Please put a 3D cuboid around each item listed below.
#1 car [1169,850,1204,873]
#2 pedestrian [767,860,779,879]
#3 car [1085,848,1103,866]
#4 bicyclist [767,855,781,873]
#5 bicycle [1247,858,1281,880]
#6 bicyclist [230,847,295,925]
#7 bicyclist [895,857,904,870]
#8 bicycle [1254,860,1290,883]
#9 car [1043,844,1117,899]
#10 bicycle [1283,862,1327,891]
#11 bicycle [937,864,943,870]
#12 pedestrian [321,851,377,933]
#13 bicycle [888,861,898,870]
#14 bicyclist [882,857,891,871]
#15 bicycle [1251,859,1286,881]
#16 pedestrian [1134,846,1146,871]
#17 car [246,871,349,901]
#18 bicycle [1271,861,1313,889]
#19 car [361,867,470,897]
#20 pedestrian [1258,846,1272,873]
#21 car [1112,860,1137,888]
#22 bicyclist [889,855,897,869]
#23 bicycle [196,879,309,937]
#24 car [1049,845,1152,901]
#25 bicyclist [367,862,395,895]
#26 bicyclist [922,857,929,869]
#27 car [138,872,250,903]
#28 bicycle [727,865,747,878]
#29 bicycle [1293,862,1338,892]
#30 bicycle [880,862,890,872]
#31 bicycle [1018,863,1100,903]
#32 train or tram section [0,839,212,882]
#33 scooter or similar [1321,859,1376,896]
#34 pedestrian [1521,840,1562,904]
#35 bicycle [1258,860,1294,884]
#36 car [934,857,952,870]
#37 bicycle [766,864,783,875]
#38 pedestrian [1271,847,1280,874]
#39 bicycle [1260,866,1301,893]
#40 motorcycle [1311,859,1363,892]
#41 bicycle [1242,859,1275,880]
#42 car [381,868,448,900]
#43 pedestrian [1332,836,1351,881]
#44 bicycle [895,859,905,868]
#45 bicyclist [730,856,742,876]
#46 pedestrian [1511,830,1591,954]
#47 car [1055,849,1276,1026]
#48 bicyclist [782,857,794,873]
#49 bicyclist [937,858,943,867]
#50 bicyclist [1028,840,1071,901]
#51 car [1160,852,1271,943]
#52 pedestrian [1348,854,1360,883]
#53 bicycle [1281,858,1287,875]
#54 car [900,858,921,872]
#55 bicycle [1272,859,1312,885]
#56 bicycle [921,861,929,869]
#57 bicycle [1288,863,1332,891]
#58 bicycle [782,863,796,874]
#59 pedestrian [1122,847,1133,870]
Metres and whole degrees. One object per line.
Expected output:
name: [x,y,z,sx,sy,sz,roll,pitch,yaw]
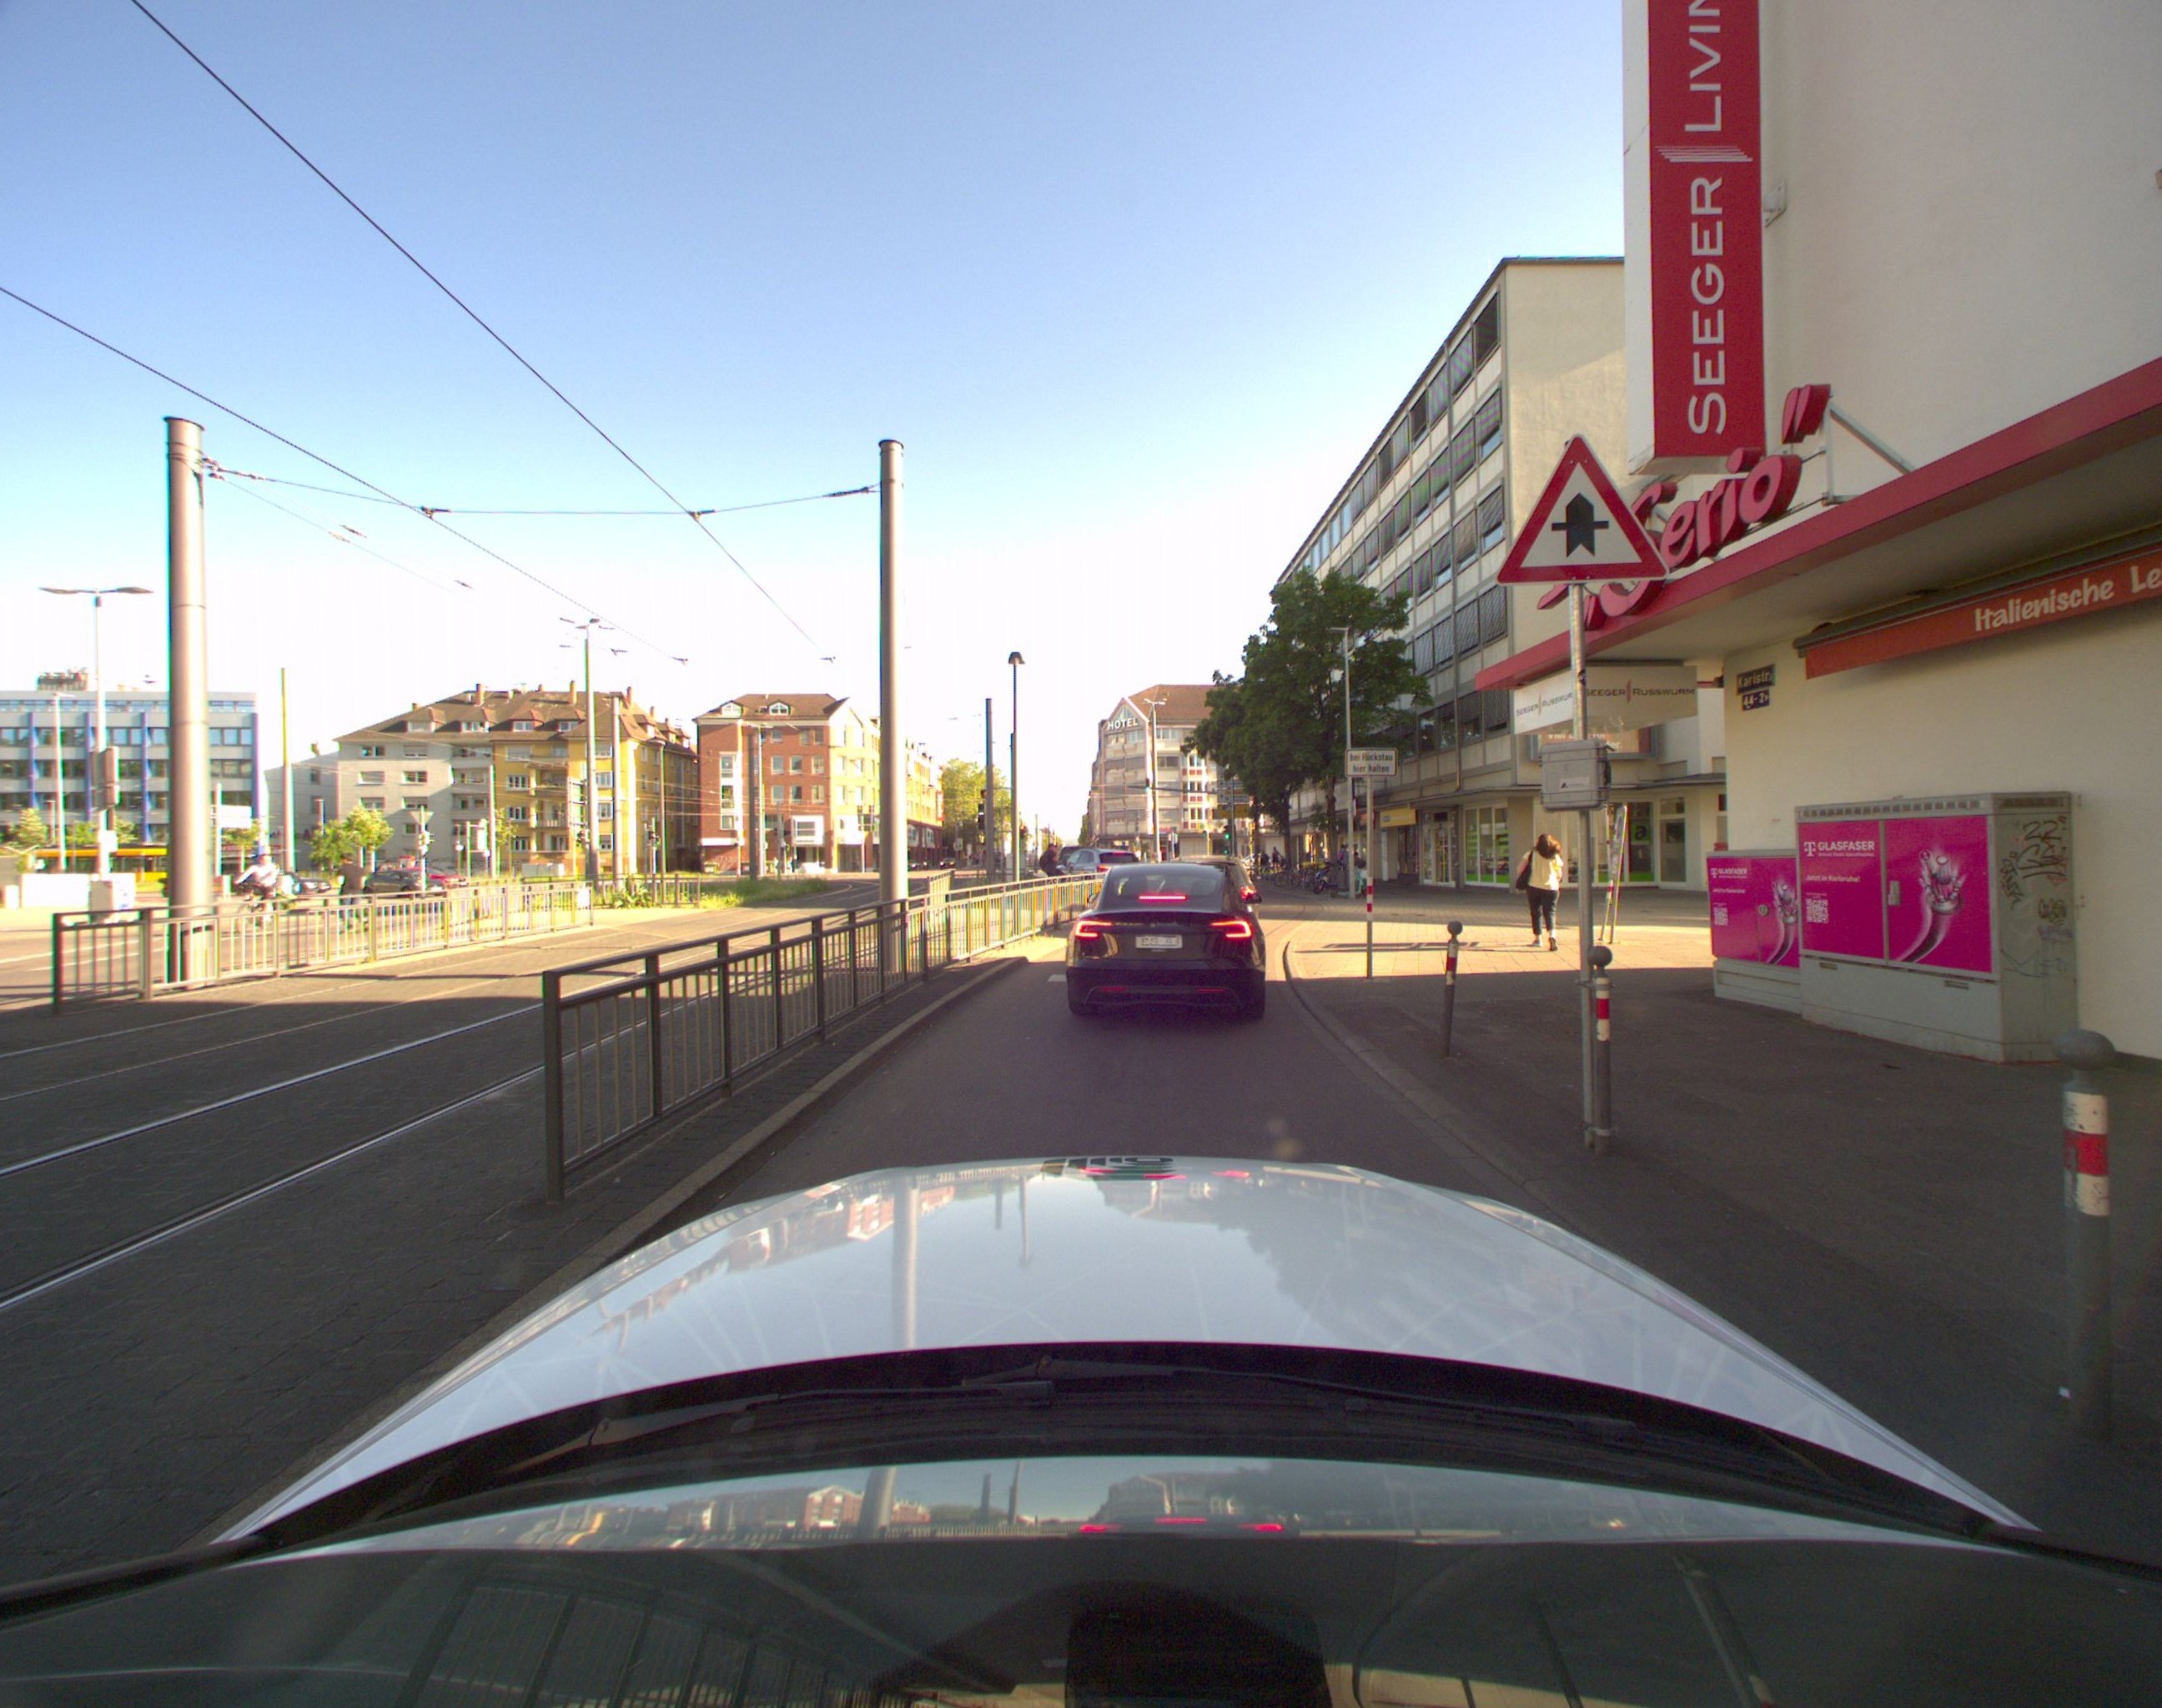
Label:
car: [7.562,0.518,57.925,1.806,1.615,3.844,-1,-1,17]
pedestrian: [-29.499,1.486,77.962,0.780,1.820,0.747,0,-1,3]
car: [1.349,0.337,84.092,1.713,1.751,3.755,0,-1,2]
bicyclist: [-25.859,0.858,68.571,0.895,1.503,0.696,0,-1,1]
bicycle: [9.265,0.761,41.290,1.643,1.099,0.350,-1,0,3]
bicyclist: [-18.940,0.728,18.862,0.751,1.759,0.755,-1,-1,10]
bicyclist: [-22.238,1.206,99.854,0.780,1.563,0.747,-1,0,3]
bicycle: [9.206,0.841,39.230,1.643,1.099,0.350,0,-1,3]
car: [-0.124,0.663,32.647,1.997,2.014,3.980,-1,0,-15]
bicycle: [8.731,0.859,31.781,1.649,1.099,0.349,0,-1,-9]
bicycle: [-23.372,2.155,134.773,0.527,1.088,2.227,0,-1,4]
pedestrian: [-15.483,0.779,17.231,0.585,1.681,0.779,-1,-1,36]
bicycle: [-22.292,1.325,96.532,0.527,1.088,2.286,1,-1,4]
bicyclist: [-22.088,1.162,92.449,0.780,1.563,0.747,0,-1,3]
bicycle: [9.282,0.798,40.243,1.643,1.099,0.350,0,-1,3]
pedestrian: [4.768,0.381,66.320,0.917,2.014,0.973,0,-1,1]
car: [-45.491,1.837,47.375,3.984,1.672,1.772,0,-1,-8]
bicycle: [8.617,0.847,33.312,1.649,1.099,0.349,0,-1,-9]
car: [-39.455,1.652,48.370,4.585,1.700,1.993,0,-1,-10]
pedestrian: [11.509,0.347,50.982,0.697,1.662,0.777,0,-1,1]
car: [2.928,1.336,55.569,1.592,1.778,3.982,0,-1,2]
bicyclist: [-22.315,0.954,96.589,0.780,1.563,0.747,-1,0,3]
bicycle: [-18.957,1.198,18.685,0.481,1.222,1.860,-1,-1,10]
car: [0.543,0.588,26.660,1.891,1.662,4.126,0,-1,-23]
bicyclist: [-39.401,1.366,45.820,0.900,1.808,0.788,0,-1,-11]
bicyclist: [-20.132,1.186,105.361,0.781,1.527,0.590,0,-1,6]
car: [-50.621,1.876,46.558,3.952,1.685,1.903,0,-1,-11]
bicycle: [-26.065,1.328,61.719,0.445,0.972,2.247,0,-1,2]
bicycle: [8.895,0.860,30.931,1.649,1.099,0.349,0,-1,-9]
bicycle: [-22.143,1.425,92.067,0.535,1.088,2.226,0,-1,3]
bicycle: [-0.582,0.774,22.582,2.346,1.053,0.624,0,-1,-36]
train or tram section: [-74.095,0.506,62.095,11.228,3.131,2.796,0,-1,-9]
scooter or similar: [8.898,0.764,27.091,1.625,1.215,0.649,-1,-1,32]
pedestrian: [12.303,0.472,21.789,0.881,1.667,0.813,-1,-1,25]
bicycle: [9.141,0.837,38.204,1.643,1.099,0.350,0,-1,3]
car: [-18.076,1.242,106.680,1.692,1.731,3.706,0,-1,0]
bicycle: [-25.813,1.294,68.599,0.522,0.972,2.247,0,-1,2]
pedestrian: [12.231,0.400,51.103,0.522,1.710,0.405,-1,-1,16]
bicycle: [8.384,1.062,34.186,1.649,1.099,0.349,0,-1,-9]
motorcycle: [9.145,0.769,29.161,1.701,1.173,0.541,0,-1,0]
bicycle: [9.246,0.791,42.385,1.643,1.099,0.350,0,-1,3]
car: [-34.510,1.520,42.160,3.815,1.526,1.656,-1,-1,34]
pedestrian: [11.941,0.214,37.324,0.659,2.014,0.580,0,-1,4]
bicycle: [-22.285,1.140,100.387,0.527,1.088,2.286,0,-1,4]
bicyclist: [-26.072,0.916,61.564,0.631,1.503,0.696,0,-1,1]
pedestrian: [6.955,0.537,12.109,0.906,1.752,1.044,-1,0,25]
car: [0.934,0.709,8.780,1.820,1.455,4.007,0,-1,7]
bicyclist: [-26.941,1.003,74.856,0.699,1.471,0.975,-1,-1,9]
bicyclist: [-23.358,1.380,134.901,0.780,1.563,0.747,0,-1,3]
bicyclist: [-0.877,0.449,22.359,0.763,1.628,0.967,0,-1,-37]
car: [2.449,0.690,15.085,1.741,1.454,4.009,-1,0,8]
pedestrian: [12.501,0.665,37.235,0.388,1.343,0.513,0,-1,4]
bicycle: [12.637,0.774,50.725,0.330,1.034,1.260,-1,-1,12]
car: [-20.010,1.270,95.668,1.706,1.527,4.032,0,-1,-3]
bicycle: [9.119,0.769,35.251,1.643,1.099,0.350,0,-1,3]
bicycle: [-20.194,1.392,105.305,0.456,1.093,2.205,0,-1,6]
bicycle: [8.818,0.878,31.354,1.649,1.061,0.349,0,-1,-9]
bicycle: [-26.862,1.356,74.844,0.402,0.981,1.699,-1,-1,10]
pedestrian: [4.019,0.391,70.827,0.917,2.014,0.973,0,-1,1]
